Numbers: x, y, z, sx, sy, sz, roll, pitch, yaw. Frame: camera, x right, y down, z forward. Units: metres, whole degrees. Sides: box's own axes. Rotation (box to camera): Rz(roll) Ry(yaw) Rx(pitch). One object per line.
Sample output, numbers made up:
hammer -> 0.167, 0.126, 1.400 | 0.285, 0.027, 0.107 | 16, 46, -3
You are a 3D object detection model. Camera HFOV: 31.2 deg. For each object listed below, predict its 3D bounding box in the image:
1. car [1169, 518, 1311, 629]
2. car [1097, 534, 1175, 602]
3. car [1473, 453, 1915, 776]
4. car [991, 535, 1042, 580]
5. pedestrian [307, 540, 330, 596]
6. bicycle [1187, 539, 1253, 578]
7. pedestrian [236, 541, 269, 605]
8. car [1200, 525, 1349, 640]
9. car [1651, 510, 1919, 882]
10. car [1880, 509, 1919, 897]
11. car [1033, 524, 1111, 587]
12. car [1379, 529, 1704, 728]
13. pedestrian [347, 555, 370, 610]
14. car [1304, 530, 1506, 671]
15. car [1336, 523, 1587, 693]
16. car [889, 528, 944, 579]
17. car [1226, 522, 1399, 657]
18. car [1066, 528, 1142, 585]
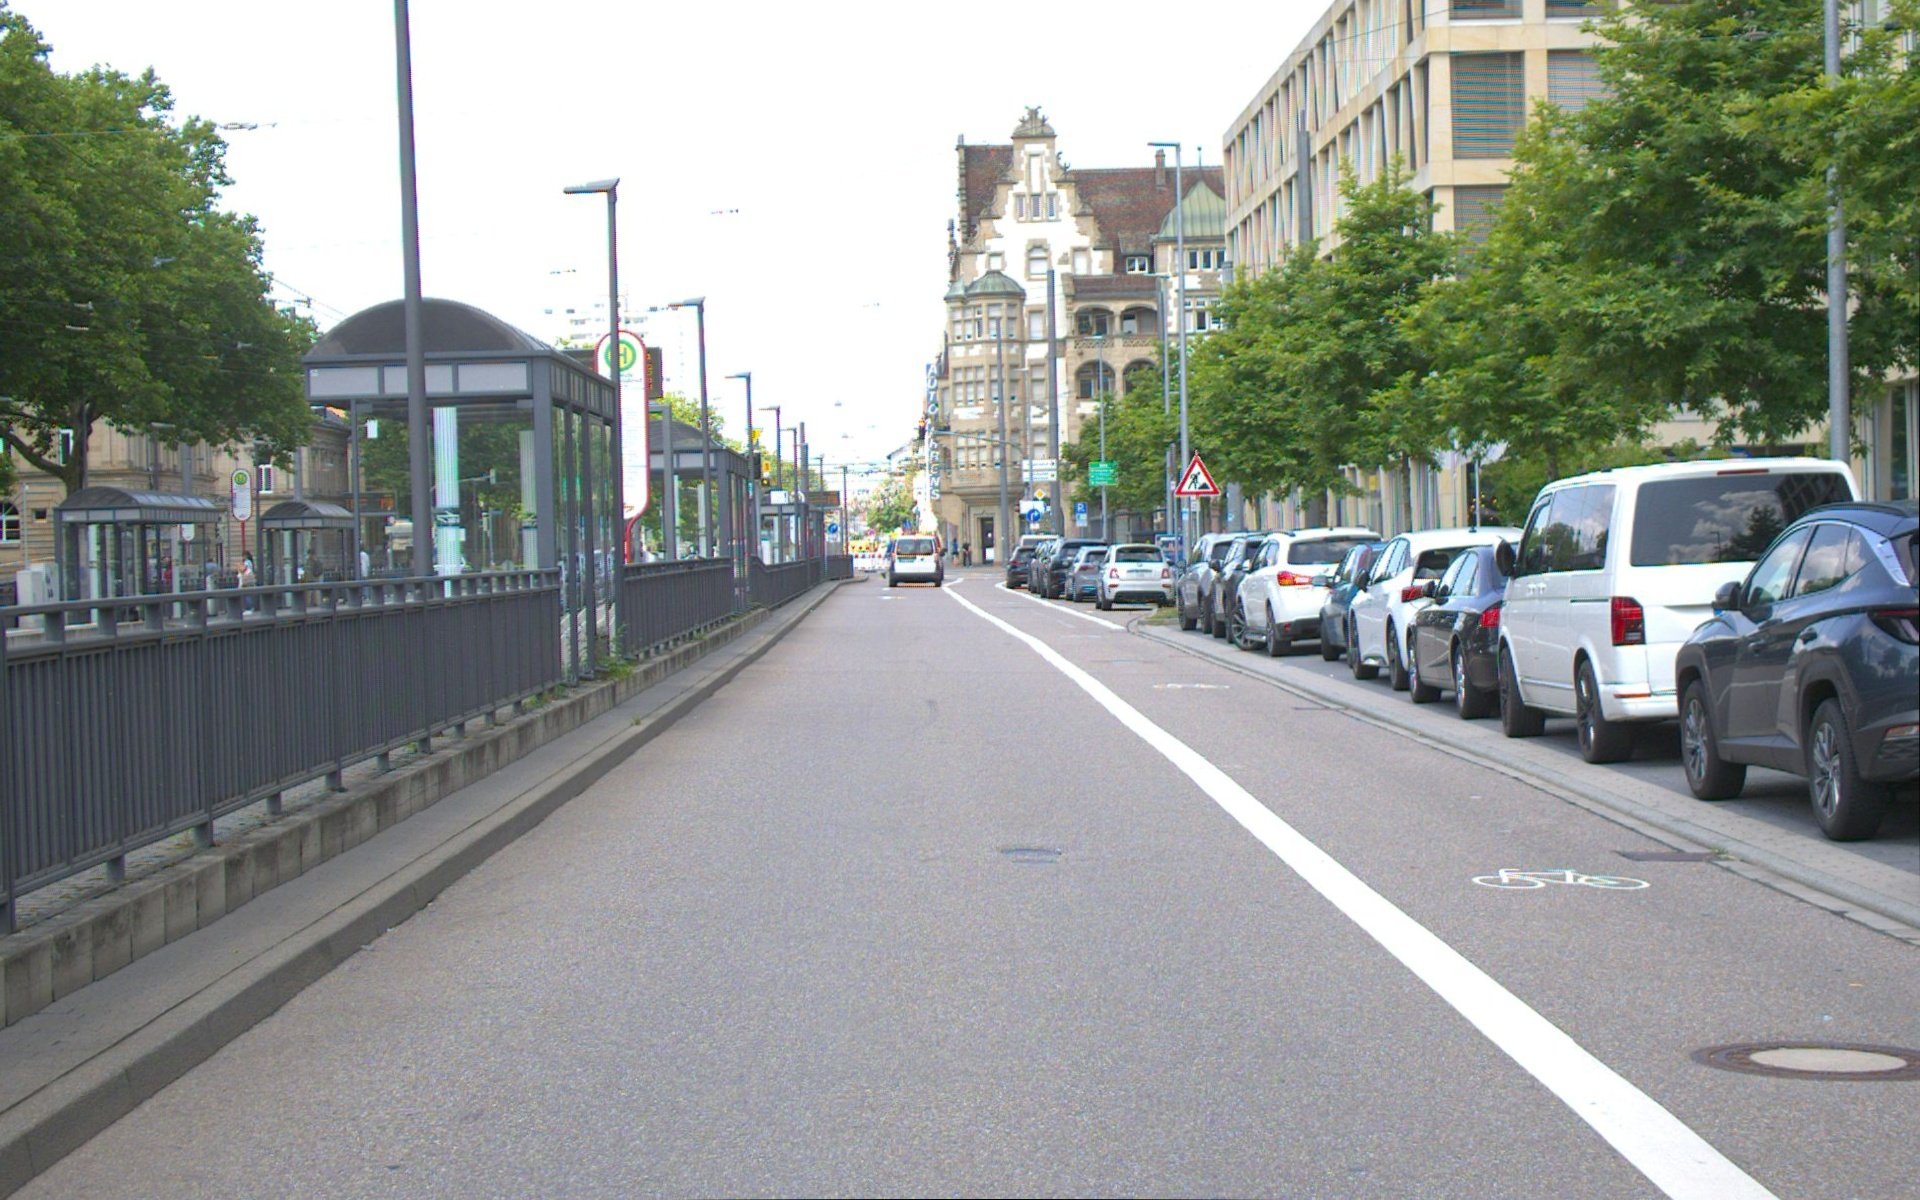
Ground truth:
car -> 4.530, -0.458, 56.129 | 1.685, 1.628, 3.991 | -4, 1, -3
car -> 3.947, -0.746, 77.614 | 1.591, 1.455, 3.613 | 0, 2, 0
car -> 4.971, 0.036, 23.995 | 1.881, 1.932, 4.844 | -3, 1, -1
car -> 1.887, -1.435, 115.632 | 1.443, 1.465, 4.093 | 0, 1, -3
pedestrian -> -18.133, -0.900, 97.214 | 0.500, 1.553, 0.643 | -2, 1, -1
bicycle -> 7.364, -1.174, 97.313 | 1.824, 1.027, 0.584 | -2, 1, 2
pedestrian -> -17.253, -0.663, 83.808 | 0.701, 1.507, 0.803 | -3, 1, -10
car -> 4.584, -0.291, 50.538 | 1.685, 1.542, 3.927 | -3, 1, -1
car -> 5.006, 0.378, 17.995 | 1.721, 1.635, 4.528 | -3, 1, -1
car -> 4.863, 0.437, 12.833 | 1.721, 1.614, 3.860 | -2, 1, -1
car -> 3.062, -1.255, 94.557 | 1.738, 1.663, 4.841 | 0, 1, -3
car -> 4.885, 0.179, 29.507 | 1.881, 1.482, 4.564 | -3, 1, -1
pedestrian -> -18.829, -0.552, 107.625 | 0.500, 1.677, 0.643 | -3, 2, -1
car -> 5.097, -0.034, 39.807 | 1.685, 1.452, 3.951 | -3, 1, -1
car -> 5.004, 0.034, 34.826 | 1.792, 1.524, 4.159 | -3, 1, -1
car -> -1.533, -1.645, 121.033 | 1.868, 1.740, 4.000 | 0, 1, -2
car -> 4.570, -0.180, 45.037 | 1.685, 1.600, 4.152 | -3, 1, -1
car -> 3.688, -1.142, 88.784 | 1.591, 1.429, 4.108 | 0, 1, -3
